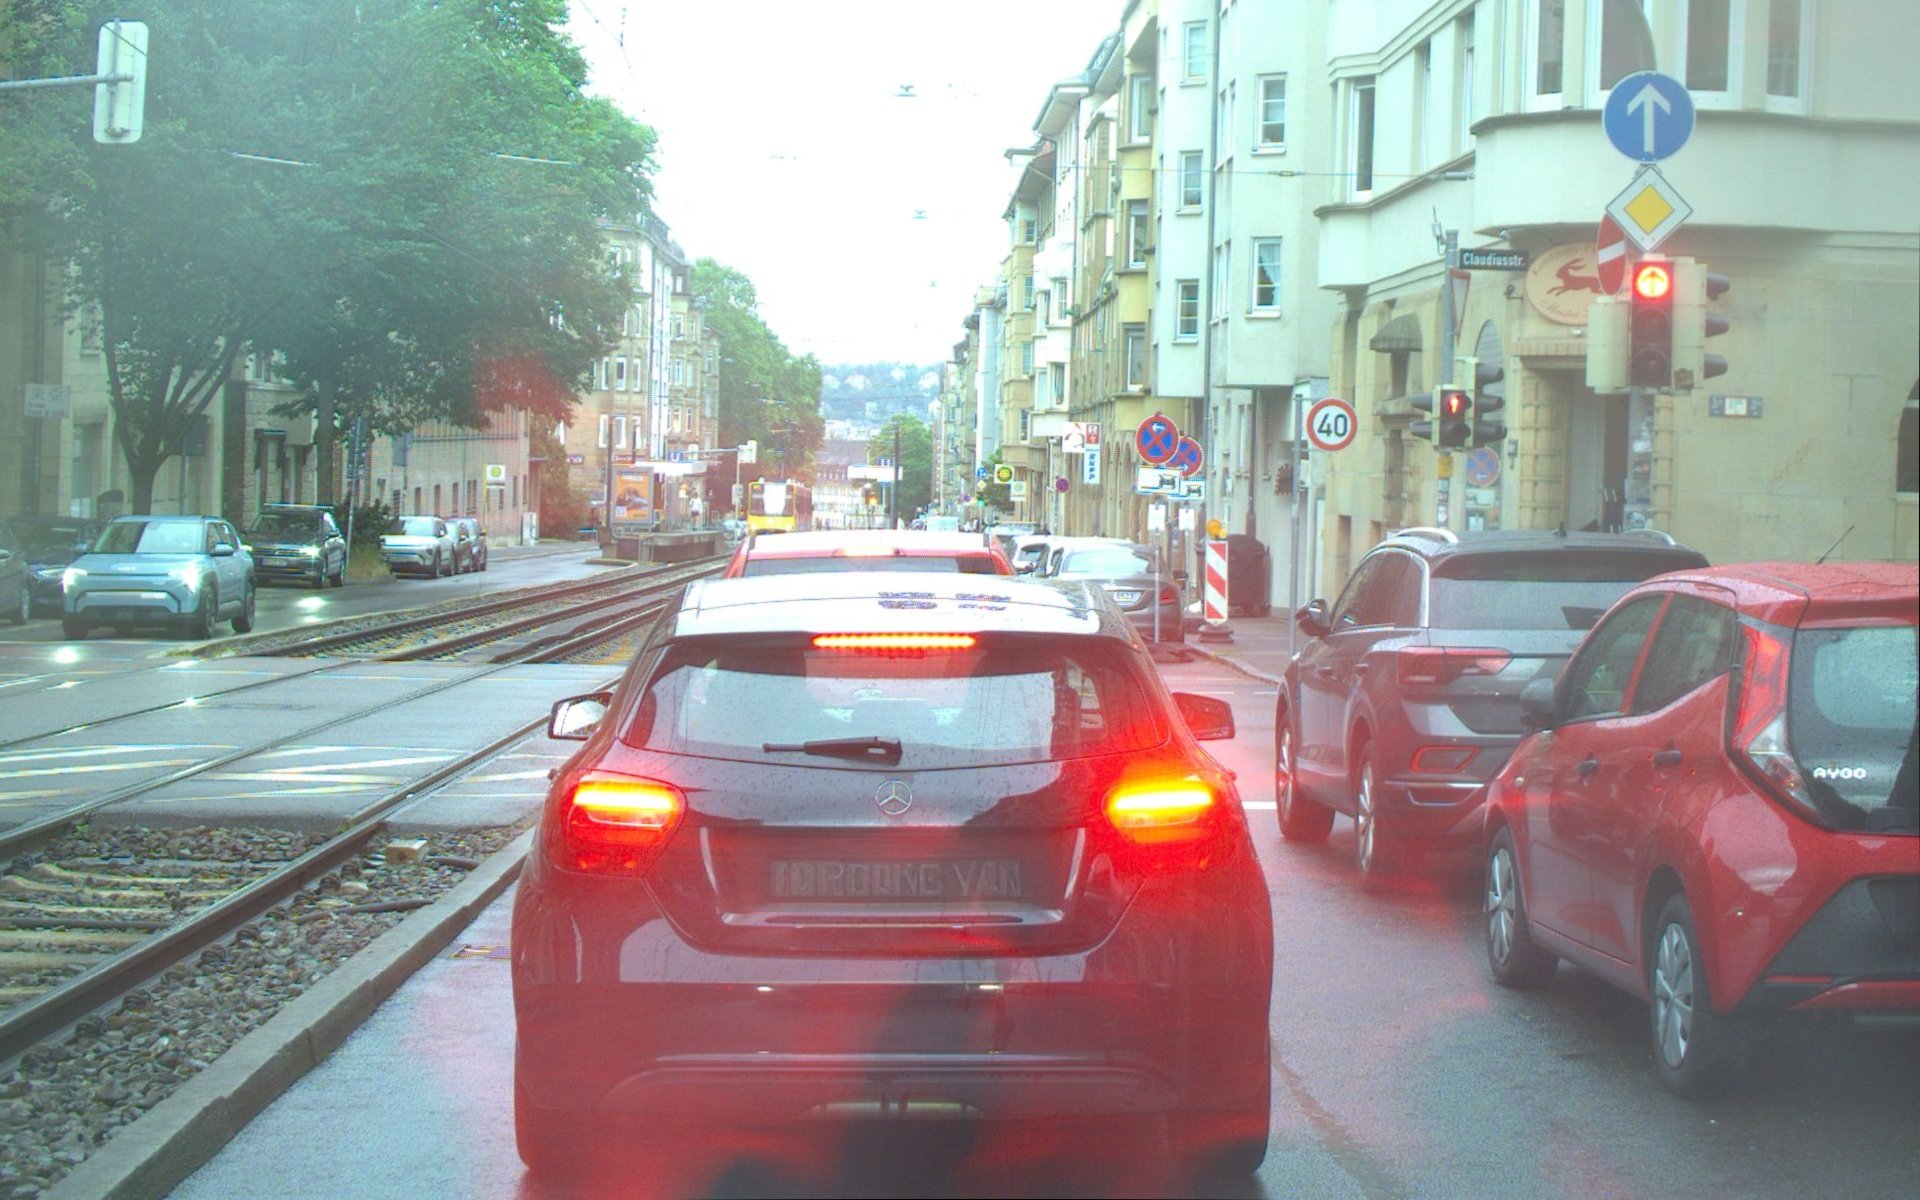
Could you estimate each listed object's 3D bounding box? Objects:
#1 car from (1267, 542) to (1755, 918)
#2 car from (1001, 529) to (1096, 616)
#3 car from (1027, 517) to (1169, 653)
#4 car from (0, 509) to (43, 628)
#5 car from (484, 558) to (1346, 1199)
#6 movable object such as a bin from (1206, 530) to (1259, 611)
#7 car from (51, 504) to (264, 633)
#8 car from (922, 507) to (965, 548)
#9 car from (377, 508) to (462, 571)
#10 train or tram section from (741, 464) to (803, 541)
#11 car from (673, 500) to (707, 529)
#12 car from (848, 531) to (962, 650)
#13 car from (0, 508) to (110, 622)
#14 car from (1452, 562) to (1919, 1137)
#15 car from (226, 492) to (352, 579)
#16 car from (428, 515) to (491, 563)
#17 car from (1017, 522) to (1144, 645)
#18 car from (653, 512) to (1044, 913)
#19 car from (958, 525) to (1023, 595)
[{"bbox_3d":[2.389,0.491,15.752,1.544,1.481,3.830,1,1,-1],"label":"car"},{"bbox_3d":[1.557,-0.504,61.514,1.544,1.481,3.548,1,1,-1],"label":"car"},{"bbox_3d":[1.671,-0.211,42.629,1.544,1.585,3.548,1,1,-1],"label":"car"},{"bbox_3d":[-13.480,-0.431,45.682,1.752,1.547,4.036,1,0,-4],"label":"car"},{"bbox_3d":[-0.123,0.642,9.446,1.829,1.453,4.104,1,1,-1],"label":"car"},{"bbox_3d":[4.715,-0.508,59.561,0.878,1.384,0.982,1,0,3],"label":"movable object such as a bin"},{"bbox_3d":[-10.455,-0.414,45.068,1.898,1.582,3.973,1,0,-1],"label":"car"},{"bbox_3d":[-0.795,-3.430,162.363,1.993,1.870,4.000,1,0,-1],"label":"car"},{"bbox_3d":[-13.991,-1.550,89.154,1.589,1.575,3.918,1,0,-1],"label":"car"},{"bbox_3d":[-10.018,-5.158,184.143,2.783,3.847,10.430,1,0,-1],"label":"train or tram section"},{"bbox_3d":[-12.233,-3.858,155.610,1.377,1.245,3.298,1,0,-2],"label":"car"},{"bbox_3d":[-0.833,-0.170,49.939,1.544,1.630,3.686,1,1,-2],"label":"car"},{"bbox_3d":[-13.733,-0.520,50.712,1.716,1.605,3.919,1,0,-5],"label":"car"},{"bbox_3d":[2.652,0.635,10.514,1.642,1.443,3.299,1,1,-3],"label":"car"},{"bbox_3d":[-13.953,-1.329,71.691,1.875,1.731,3.918,1,0,-1],"label":"car"},{"bbox_3d":[-14.334,-1.738,98.563,1.448,1.326,3.272,1,0,-2],"label":"car"},{"bbox_3d":[1.615,-0.249,47.104,1.544,1.585,3.548,1,1,-1],"label":"car"},{"bbox_3d":[-0.476,0.439,15.833,1.565,1.604,3.814,1,0,-1],"label":"car"},{"bbox_3d":[0.638,-0.864,73.583,1.294,1.437,2.929,1,1,-1],"label":"car"}]
